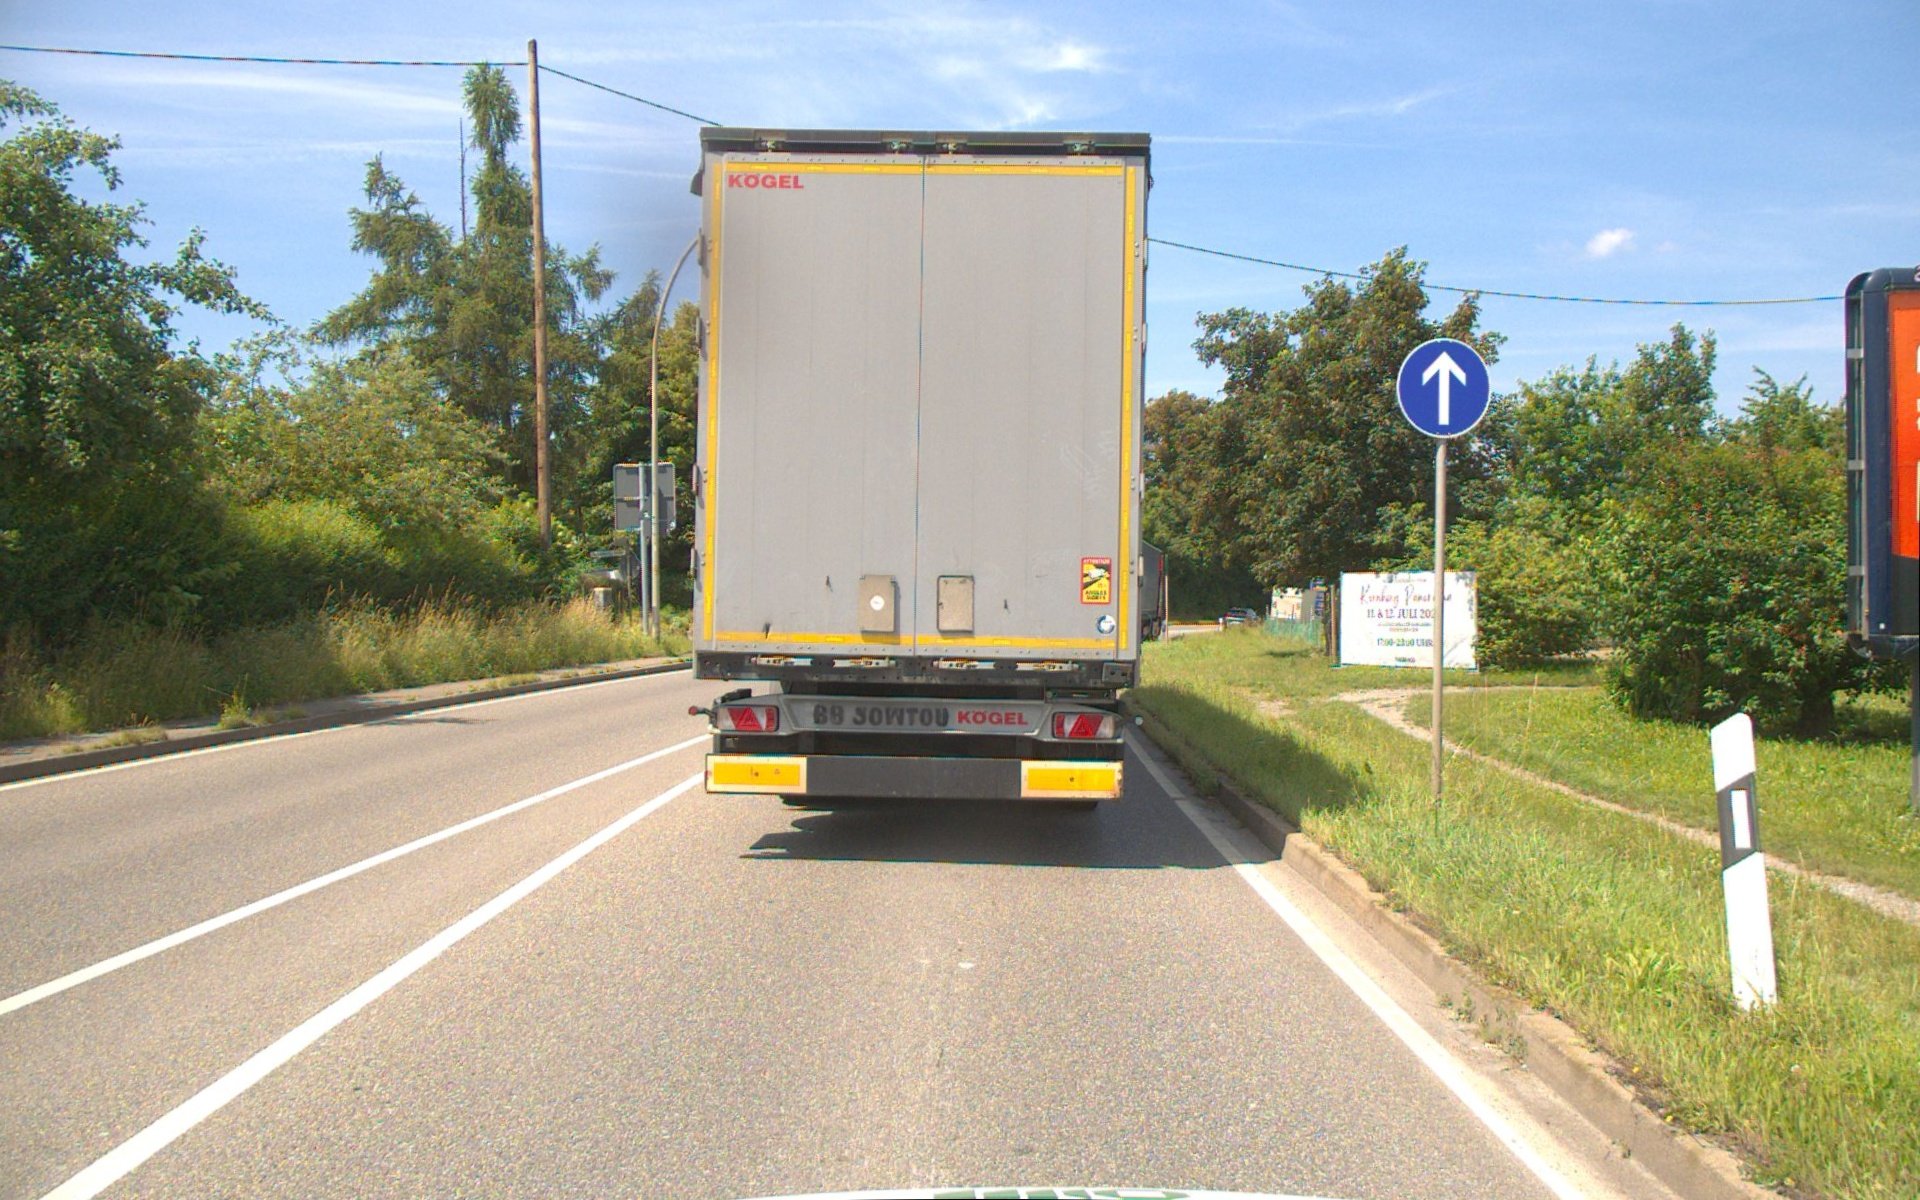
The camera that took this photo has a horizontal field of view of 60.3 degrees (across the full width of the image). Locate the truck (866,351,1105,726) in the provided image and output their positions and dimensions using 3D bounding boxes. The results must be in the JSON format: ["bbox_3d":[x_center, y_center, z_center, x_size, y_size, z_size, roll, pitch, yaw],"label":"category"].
[{"bbox_3d":[0.541,-0.747,21.887,2.688,4.238,6.147,1,1,5],"label":"truck"}]

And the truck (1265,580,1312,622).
[{"bbox_3d":[23.200,0.033,116.601,2.371,2.888,5.412,0,1,21],"label":"truck"}]

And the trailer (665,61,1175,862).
[{"bbox_3d":[0.106,-0.806,14.954,2.728,4.278,12.116,0,1,3],"label":"trailer"}]

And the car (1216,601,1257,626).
[{"bbox_3d":[17.587,0.844,105.205,1.803,1.512,4.000,1,1,21],"label":"car"}]

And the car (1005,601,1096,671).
[{"bbox_3d":[2.252,0.823,40.100,1.951,1.557,4.003,1,0,6],"label":"car"}]

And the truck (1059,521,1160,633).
[{"bbox_3d":[6.674,-0.963,72.761,3.853,4.655,7.158,0,0,10],"label":"truck"}]

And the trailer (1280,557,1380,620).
[{"bbox_3d":[29.825,-0.918,132.482,5.074,4.709,15.892,1,1,22],"label":"trailer"}]

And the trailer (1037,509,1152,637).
[{"bbox_3d":[5.579,-1.037,66.204,3.808,4.600,12.724,0,1,8],"label":"trailer"}]
